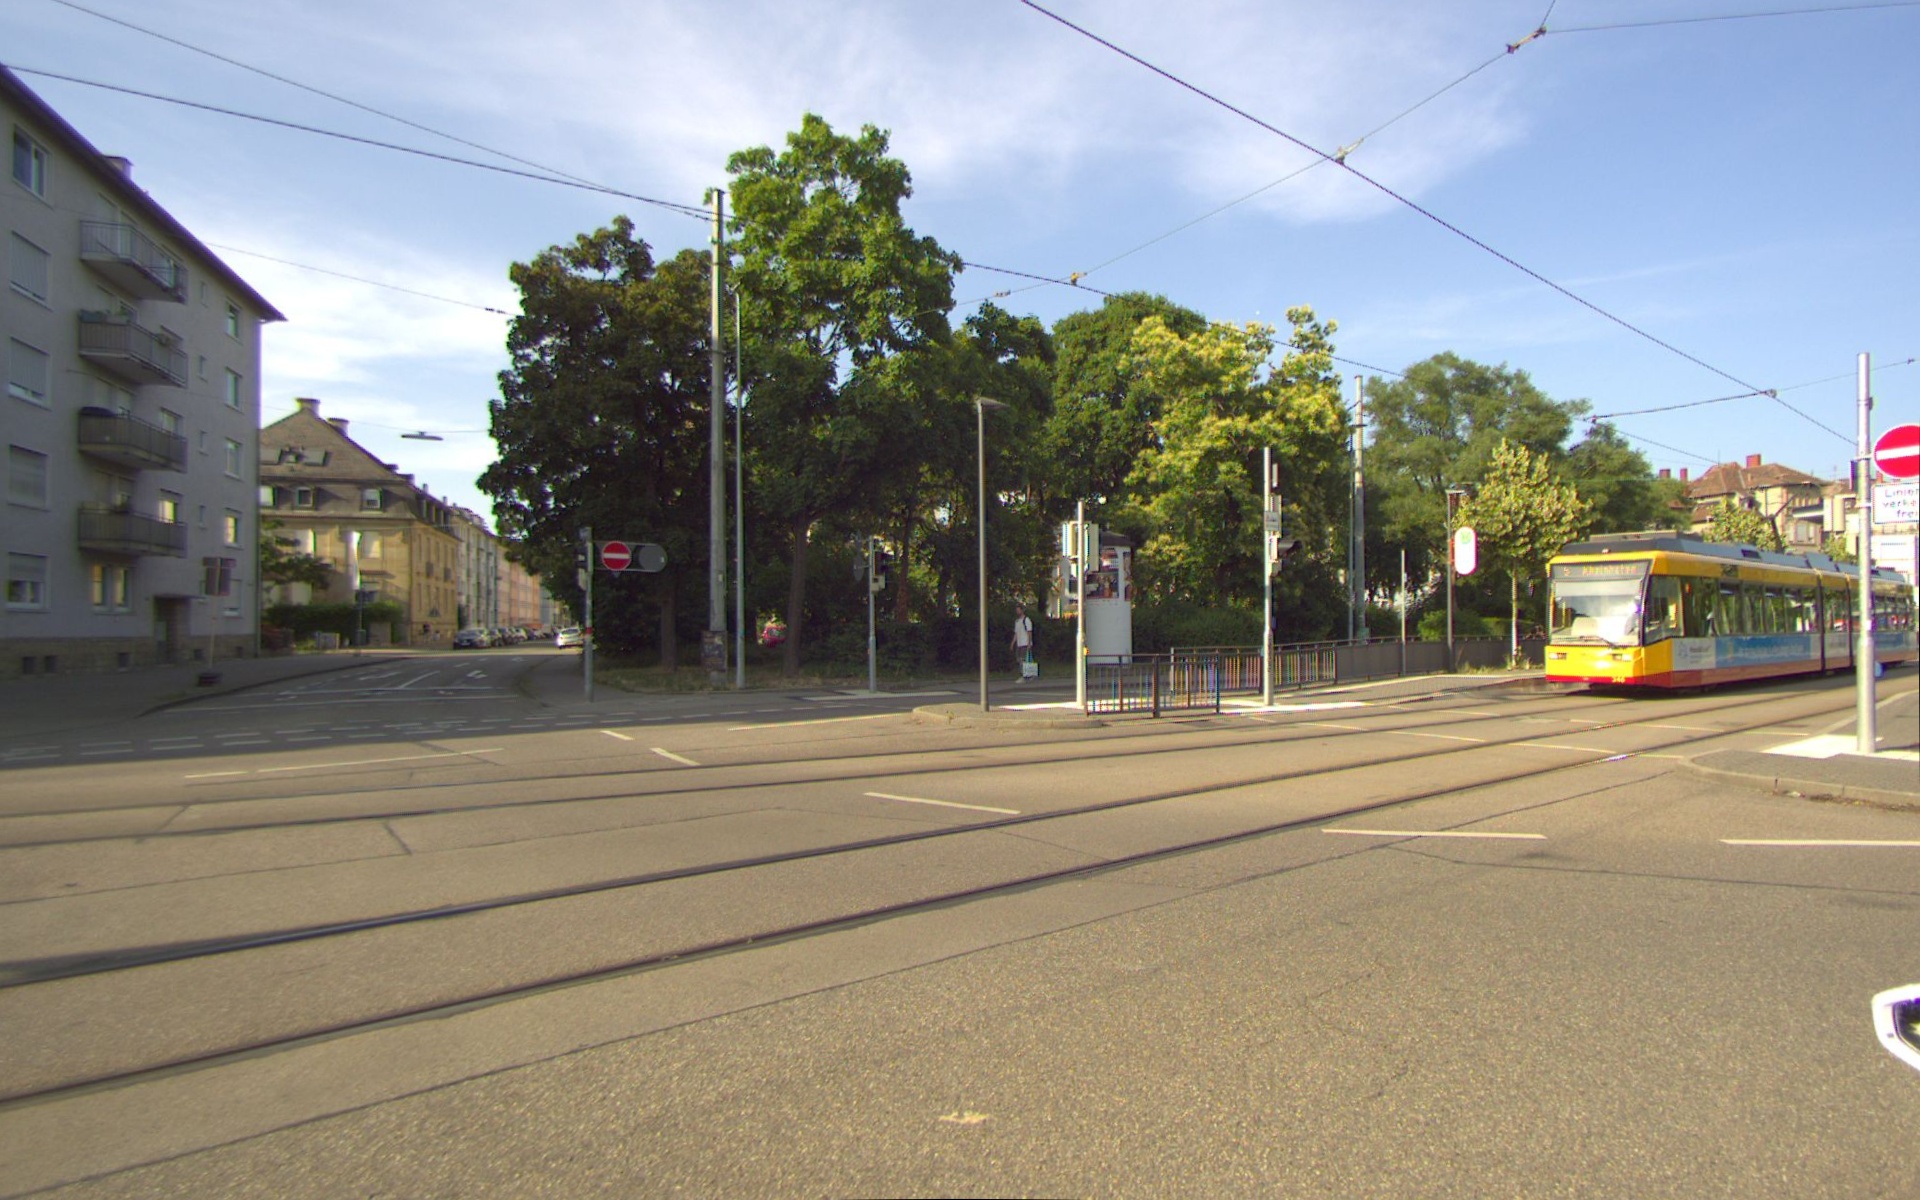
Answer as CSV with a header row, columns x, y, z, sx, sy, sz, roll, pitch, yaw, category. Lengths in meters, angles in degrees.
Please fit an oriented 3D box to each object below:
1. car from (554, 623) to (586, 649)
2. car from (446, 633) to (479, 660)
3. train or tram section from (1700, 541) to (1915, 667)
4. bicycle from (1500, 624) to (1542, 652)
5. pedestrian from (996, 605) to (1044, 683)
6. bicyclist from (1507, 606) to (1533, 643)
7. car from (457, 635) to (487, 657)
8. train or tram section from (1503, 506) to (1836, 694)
x,y,z,sx,sy,sz,roll,pitch,yaw,category
-28.623,2.604,73.851,1.968,1.748,3.984,0,0,-18,car
-35.658,3.283,72.022,1.973,1.748,3.976,0,0,-25,car
28.976,0.158,33.914,14.351,3.526,3.136,0,0,-40,train or tram section
22.282,1.495,39.871,2.228,1.032,0.538,0,0,-35,bicycle
1.534,1.099,25.644,0.990,1.935,0.705,0,0,39,pedestrian
22.169,0.958,39.743,0.710,1.432,0.646,0,0,-35,bicyclist
-37.371,3.503,77.026,1.973,1.439,3.976,0,0,-25,car
18.007,0.060,24.693,14.411,3.526,3.136,0,0,-40,train or tram section
